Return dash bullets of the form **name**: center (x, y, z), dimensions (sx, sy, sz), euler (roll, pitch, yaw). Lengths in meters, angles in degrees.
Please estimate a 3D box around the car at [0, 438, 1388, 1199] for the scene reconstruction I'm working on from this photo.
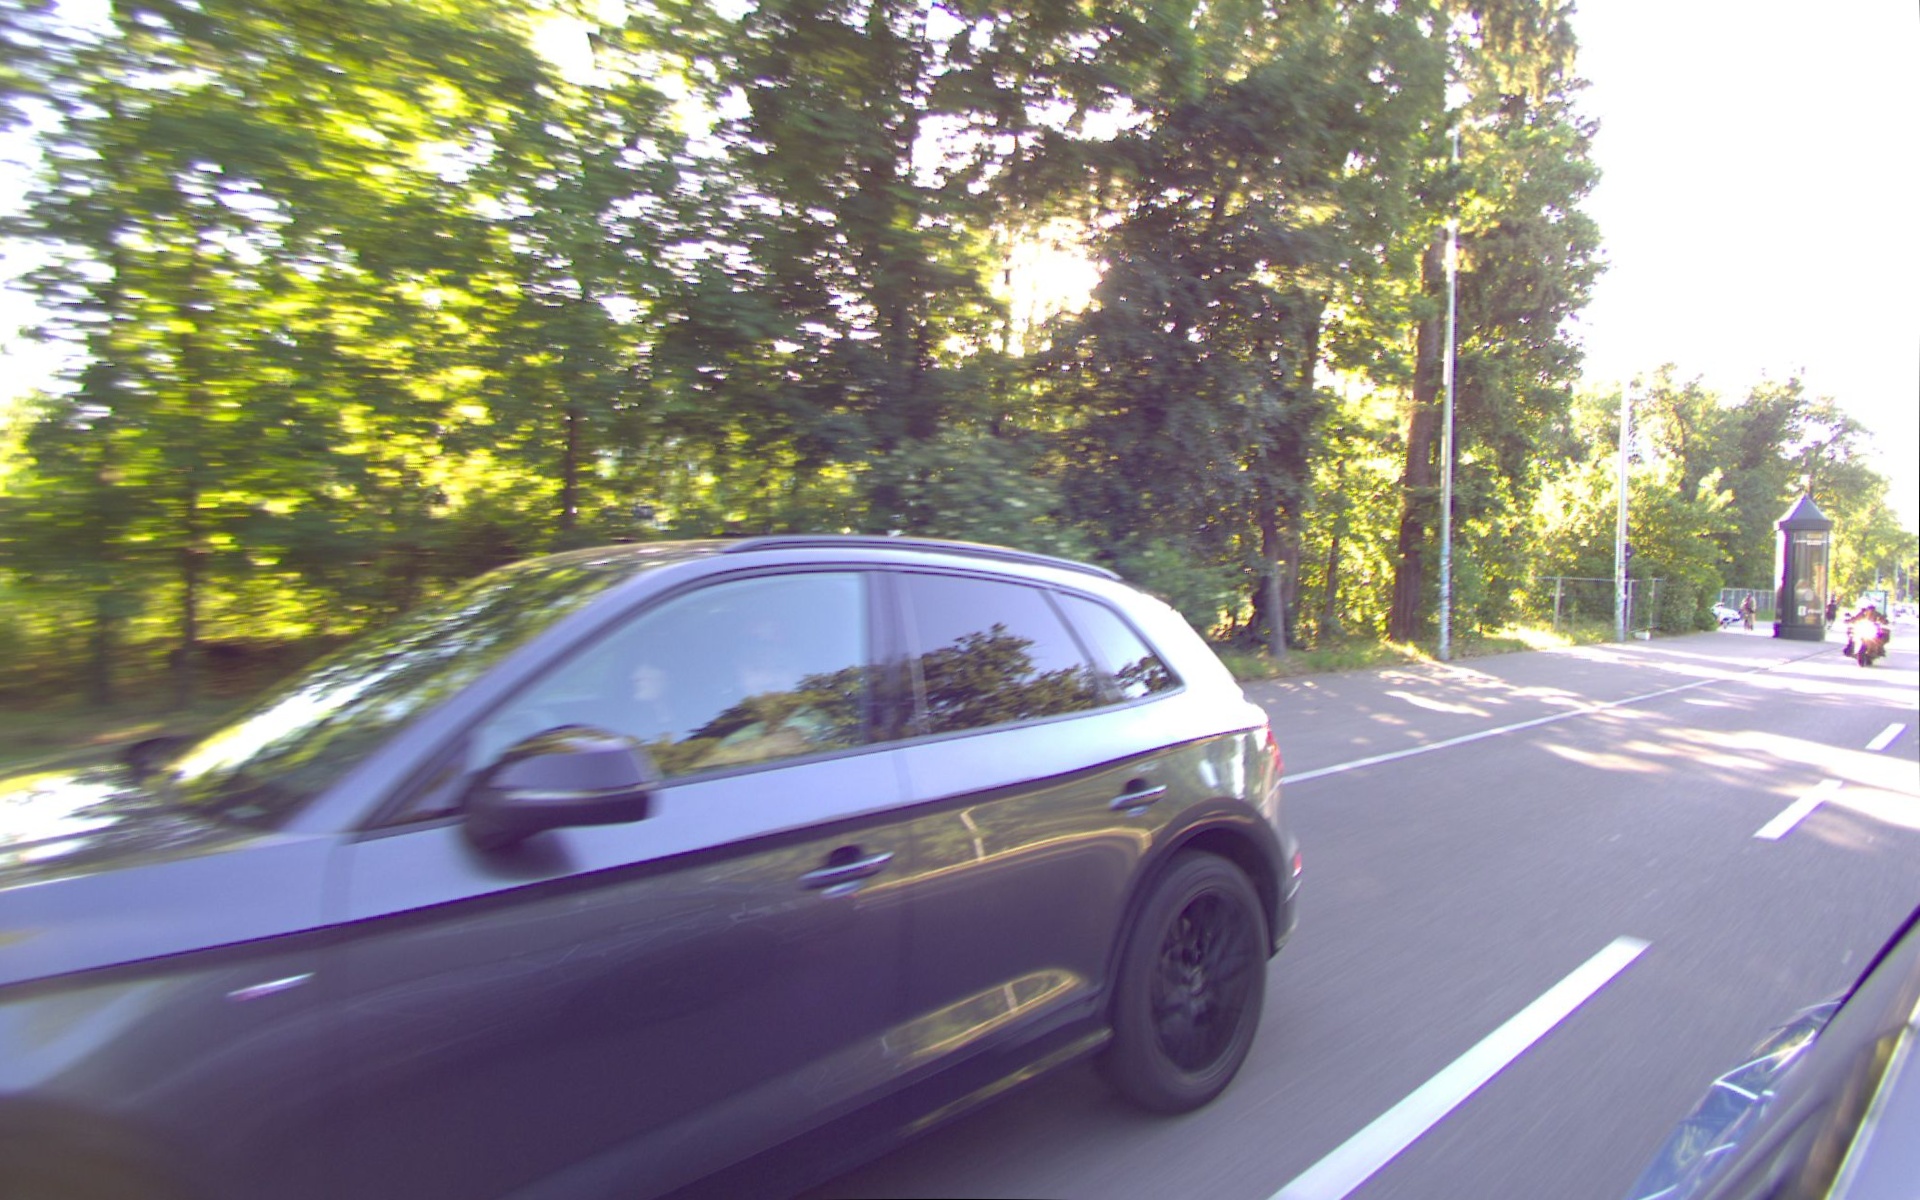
- **car**: center (-0.753, 0.615, 2.849), dimensions (4.466, 1.626, 1.895), euler (0, 0, -42)

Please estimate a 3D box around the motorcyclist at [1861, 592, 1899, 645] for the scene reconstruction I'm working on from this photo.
- **motorcyclist**: center (22.967, 0.450, 25.266), dimensions (0.670, 1.280, 0.812), euler (-1, 0, 44)

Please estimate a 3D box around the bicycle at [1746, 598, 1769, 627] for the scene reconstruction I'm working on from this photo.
- **bicycle**: center (33.522, 0.508, 42.544), dimensions (0.554, 1.151, 1.834), euler (3, 2, 44)

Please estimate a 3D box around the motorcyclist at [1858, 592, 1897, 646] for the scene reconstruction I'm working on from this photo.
- **motorcyclist**: center (22.358, 0.457, 24.654), dimensions (0.670, 1.280, 0.812), euler (-1, 0, 44)

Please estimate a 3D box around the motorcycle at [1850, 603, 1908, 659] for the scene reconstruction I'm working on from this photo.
- **motorcycle**: center (22.404, 0.729, 24.644), dimensions (0.913, 1.266, 2.915), euler (-2, -2, 44)

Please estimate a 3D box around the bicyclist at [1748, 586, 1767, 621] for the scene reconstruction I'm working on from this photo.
- **bicyclist**: center (33.608, 0.141, 42.632), dimensions (0.520, 1.487, 0.847), euler (1, 1, 44)

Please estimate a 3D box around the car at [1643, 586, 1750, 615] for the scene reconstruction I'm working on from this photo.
- **car**: center (40.256, 0.000, 55.428), dimensions (1.786, 1.395, 4.387), euler (0, 3, -36)

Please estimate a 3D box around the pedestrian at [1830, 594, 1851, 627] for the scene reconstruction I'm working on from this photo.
- **pedestrian**: center (46.436, 0.550, 53.386), dimensions (0.866, 1.709, 0.628), euler (0, 0, -35)

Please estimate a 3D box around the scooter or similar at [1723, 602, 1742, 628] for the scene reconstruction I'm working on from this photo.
- **scooter or similar**: center (37.036, 0.721, 48.512), dimensions (1.382, 1.186, 0.282), euler (1, 2, -36)
